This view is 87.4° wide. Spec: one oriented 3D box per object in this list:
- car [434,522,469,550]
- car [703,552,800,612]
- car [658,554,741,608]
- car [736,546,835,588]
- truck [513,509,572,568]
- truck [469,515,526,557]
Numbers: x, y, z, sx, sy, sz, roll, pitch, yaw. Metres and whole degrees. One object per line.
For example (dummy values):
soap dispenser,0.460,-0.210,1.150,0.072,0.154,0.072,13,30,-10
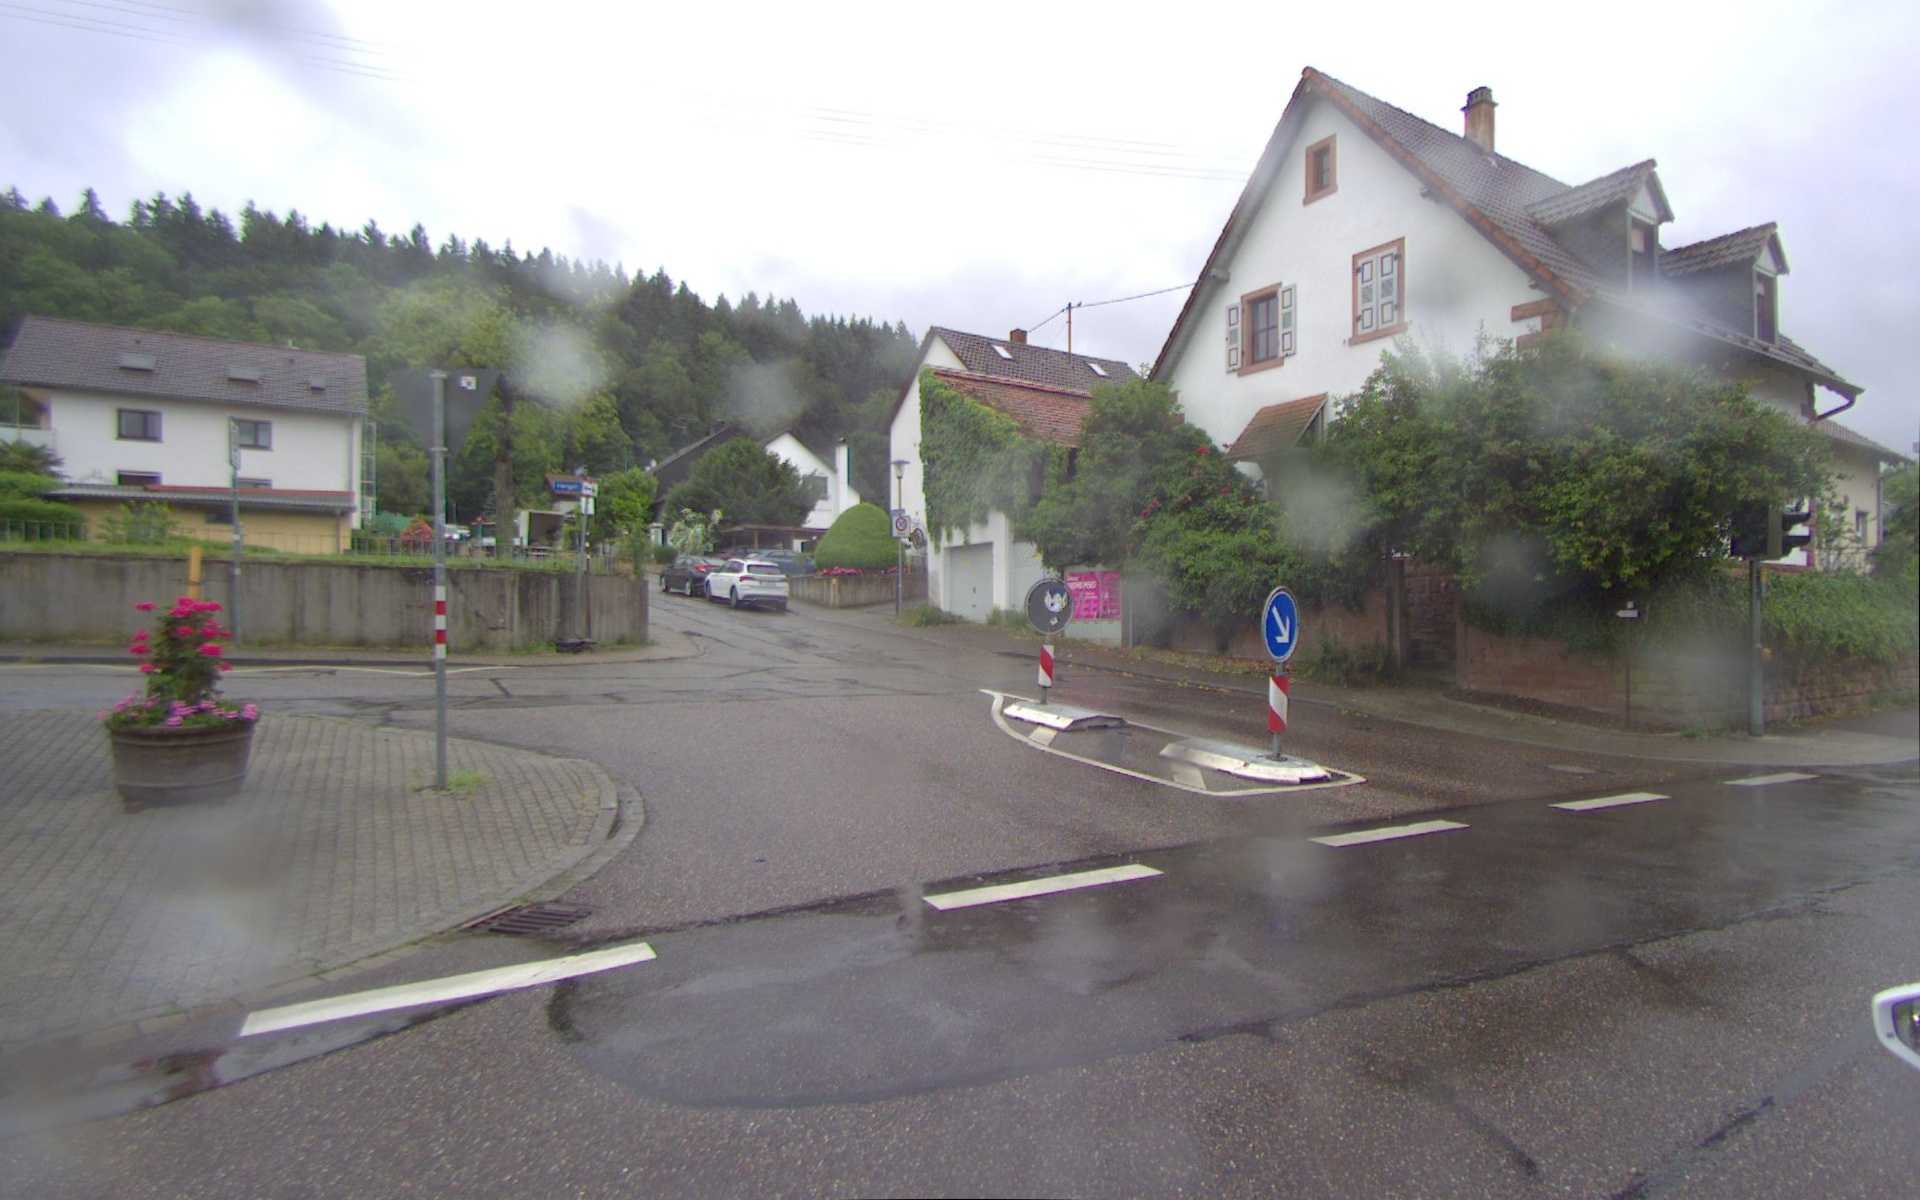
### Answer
car,-39.696,-4.960,78.386,1.897,2.040,3.960,2,2,-35
car,-6.836,-0.610,32.662,1.879,1.535,3.858,2,5,-31
car,-9.568,-0.723,36.676,1.879,1.535,3.858,2,5,-31
car,-7.784,-1.476,44.841,3.848,1.534,1.883,2,5,-32
truck,-26.085,-3.784,62.576,2.425,3.397,6.602,1,2,-31
truck,-26.846,-3.645,58.179,2.274,2.155,6.027,1,2,-31
